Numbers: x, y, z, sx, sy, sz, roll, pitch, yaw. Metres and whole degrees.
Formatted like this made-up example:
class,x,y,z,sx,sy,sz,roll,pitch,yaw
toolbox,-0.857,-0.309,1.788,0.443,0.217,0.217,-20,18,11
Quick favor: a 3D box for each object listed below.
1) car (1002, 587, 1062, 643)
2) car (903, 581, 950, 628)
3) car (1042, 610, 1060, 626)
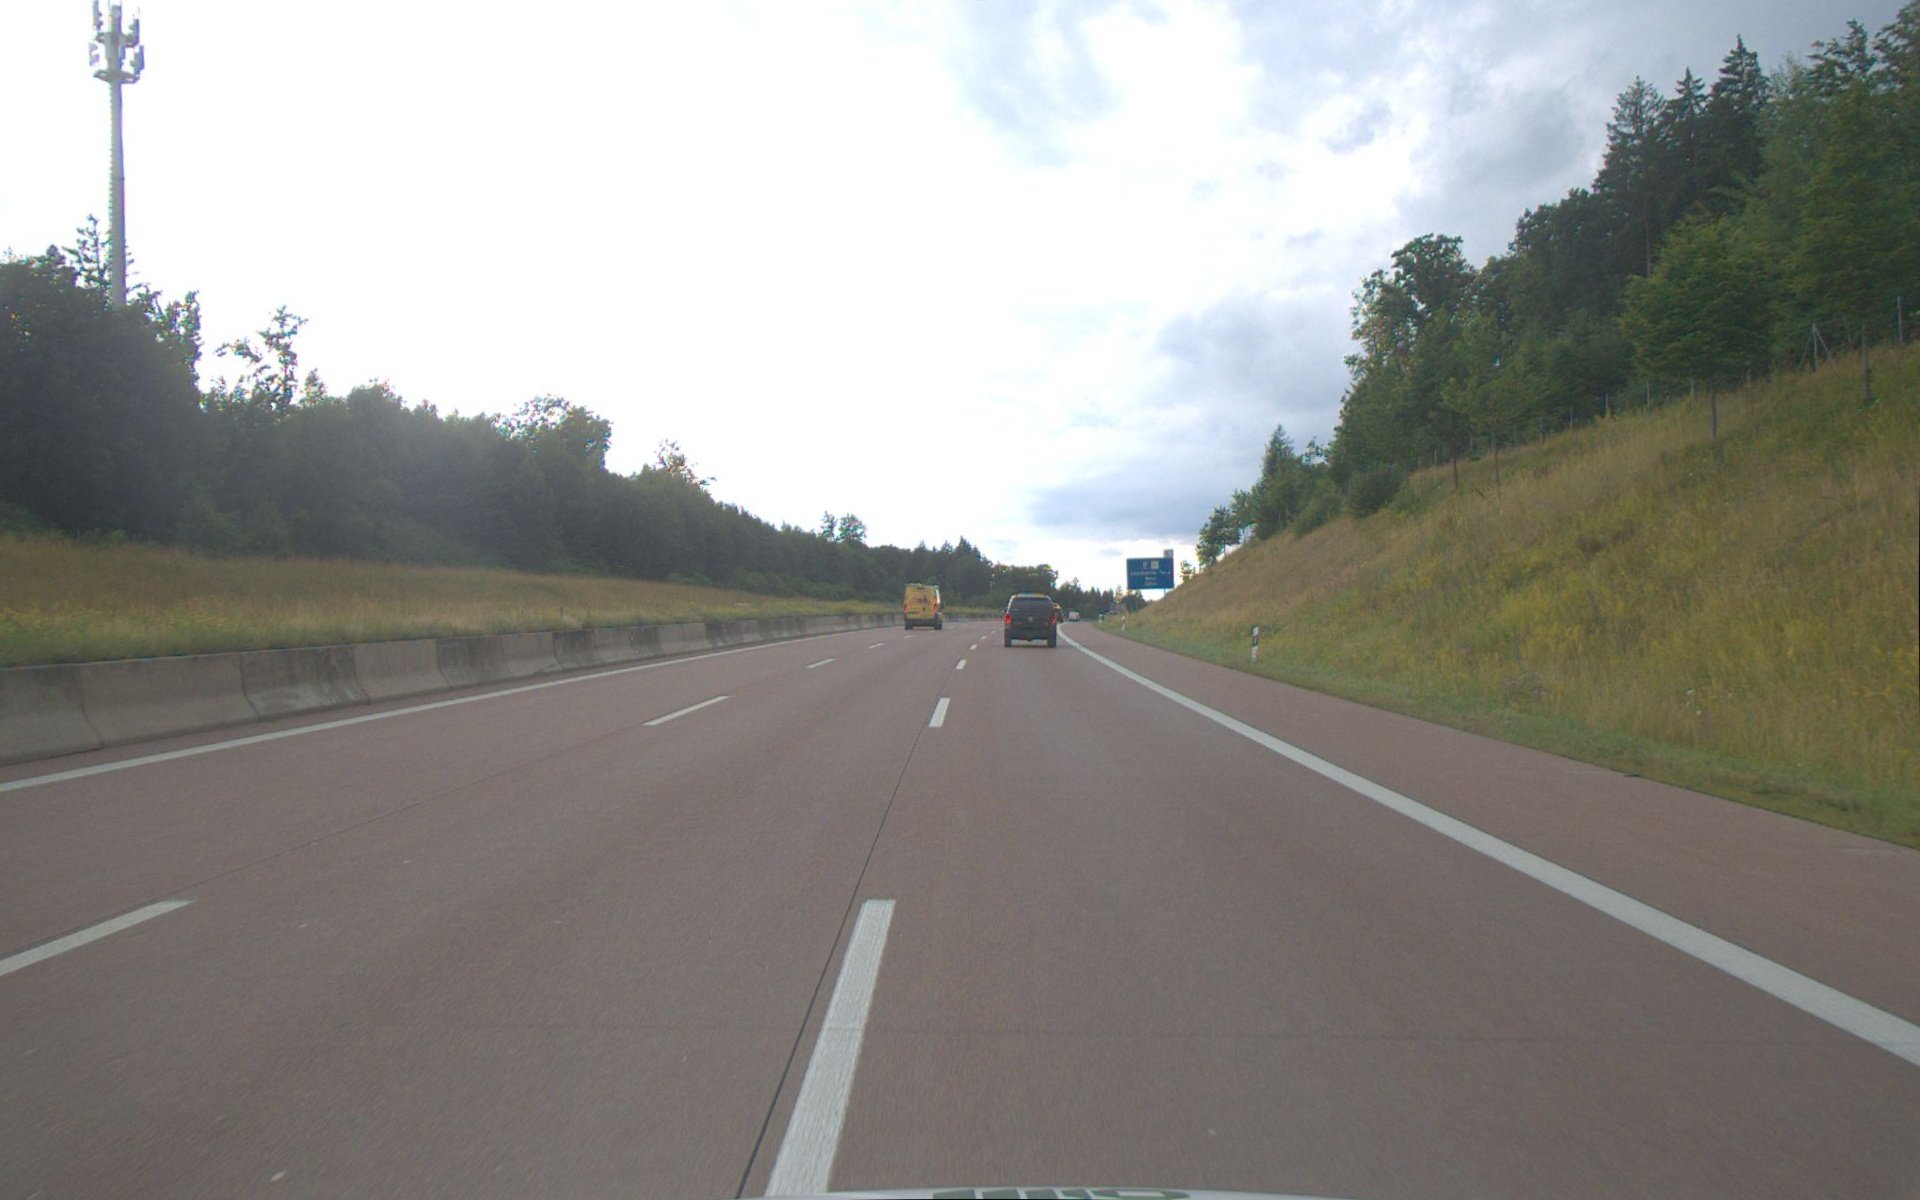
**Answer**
class,x,y,z,sx,sy,sz,roll,pitch,yaw
car,2.564,0.574,60.120,2.002,1.930,5.577,0,-1,1
car,-1.996,0.308,100.702,2.407,2.754,5.615,0,-1,3
car,9.925,2.010,180.365,1.936,1.677,4.620,0,-1,2
